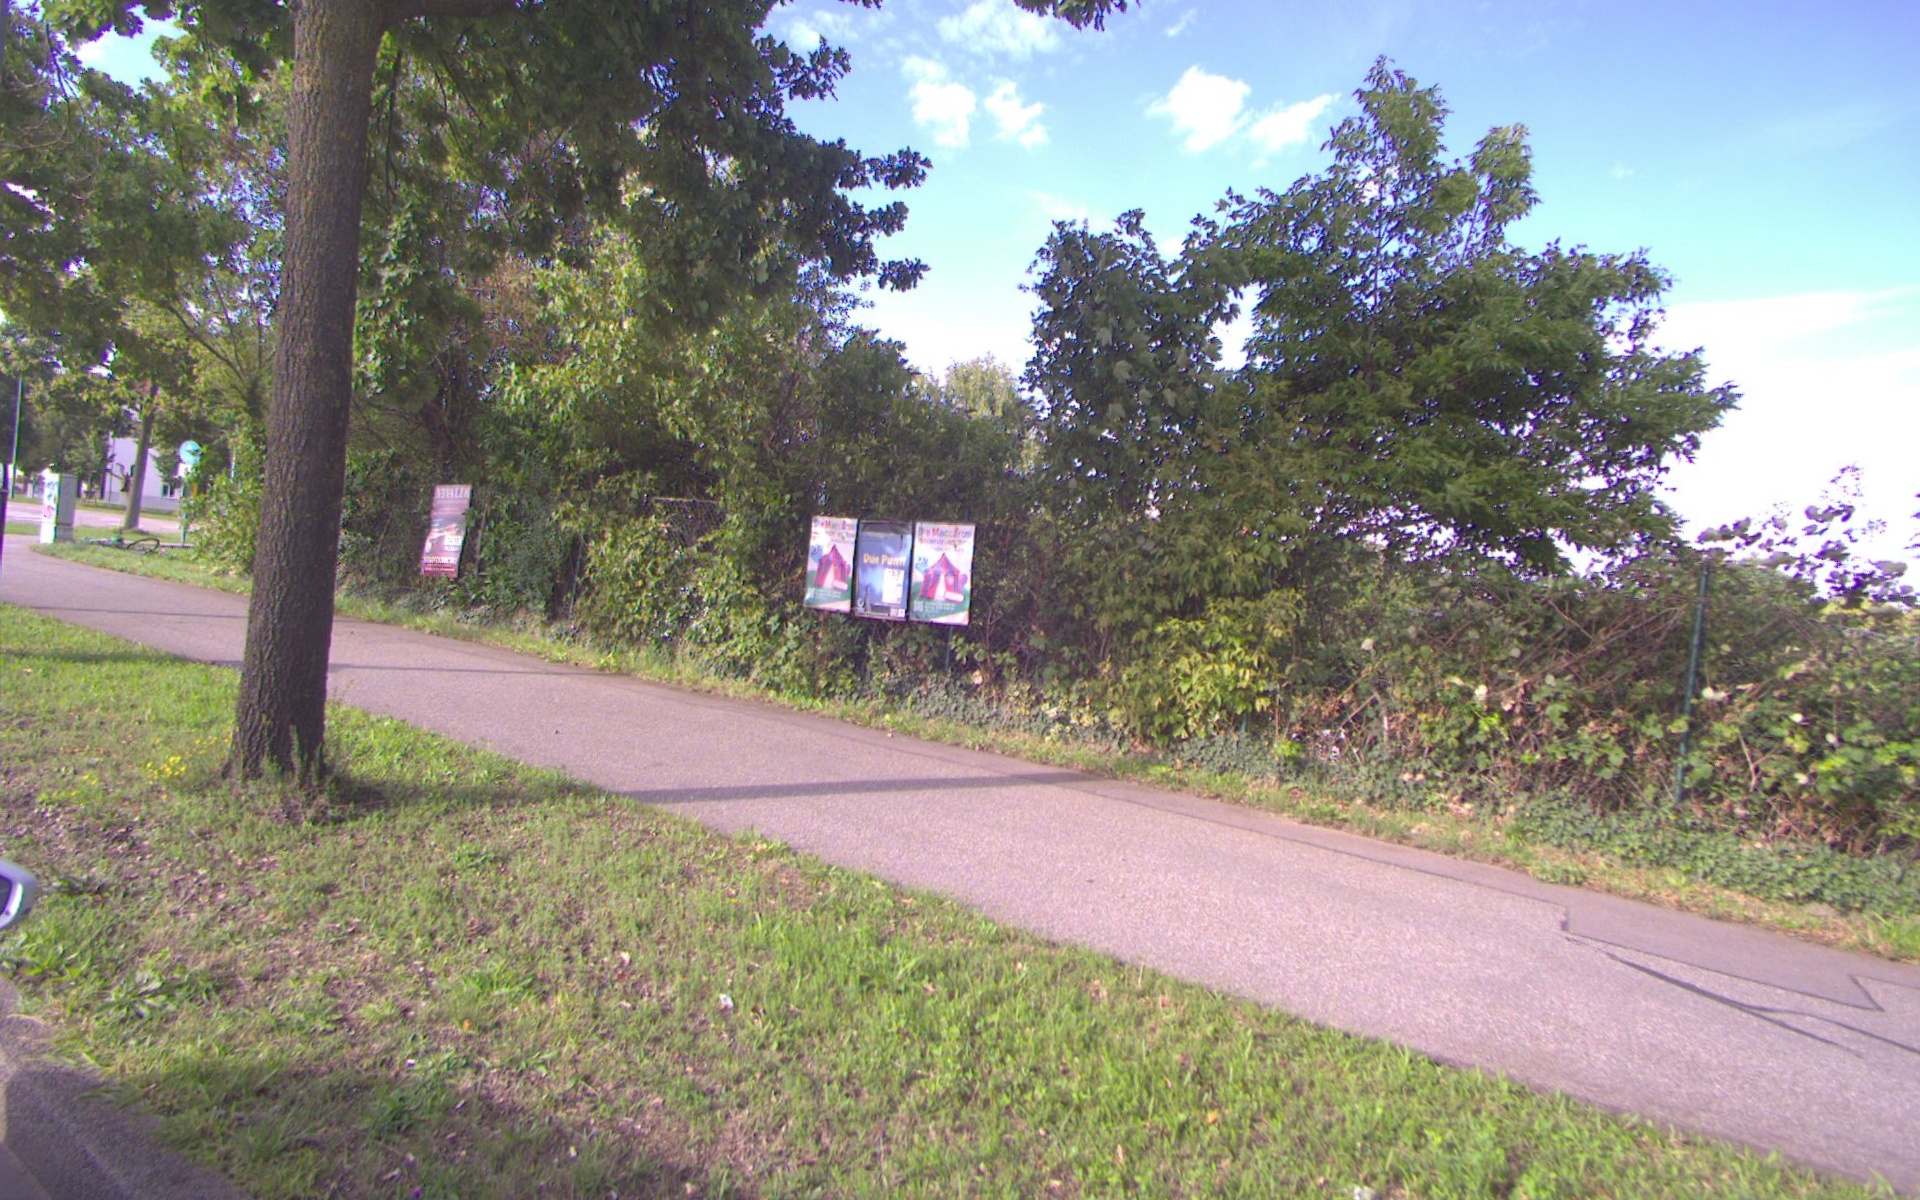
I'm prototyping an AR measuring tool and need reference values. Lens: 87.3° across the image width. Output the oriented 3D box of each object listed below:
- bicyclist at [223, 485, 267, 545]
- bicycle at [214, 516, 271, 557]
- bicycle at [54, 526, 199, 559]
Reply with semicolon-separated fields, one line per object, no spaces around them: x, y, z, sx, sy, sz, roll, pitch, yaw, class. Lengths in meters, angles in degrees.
-21.404;-2.532;30.128;0.675;1.668;0.830;6;0;-15;bicyclist
-21.454;-1.884;30.105;0.699;1.063;1.771;6;0;-14;bicycle
-18.632;-1.292;22.504;2.529;0.390;1.411;7;0;21;bicycle
